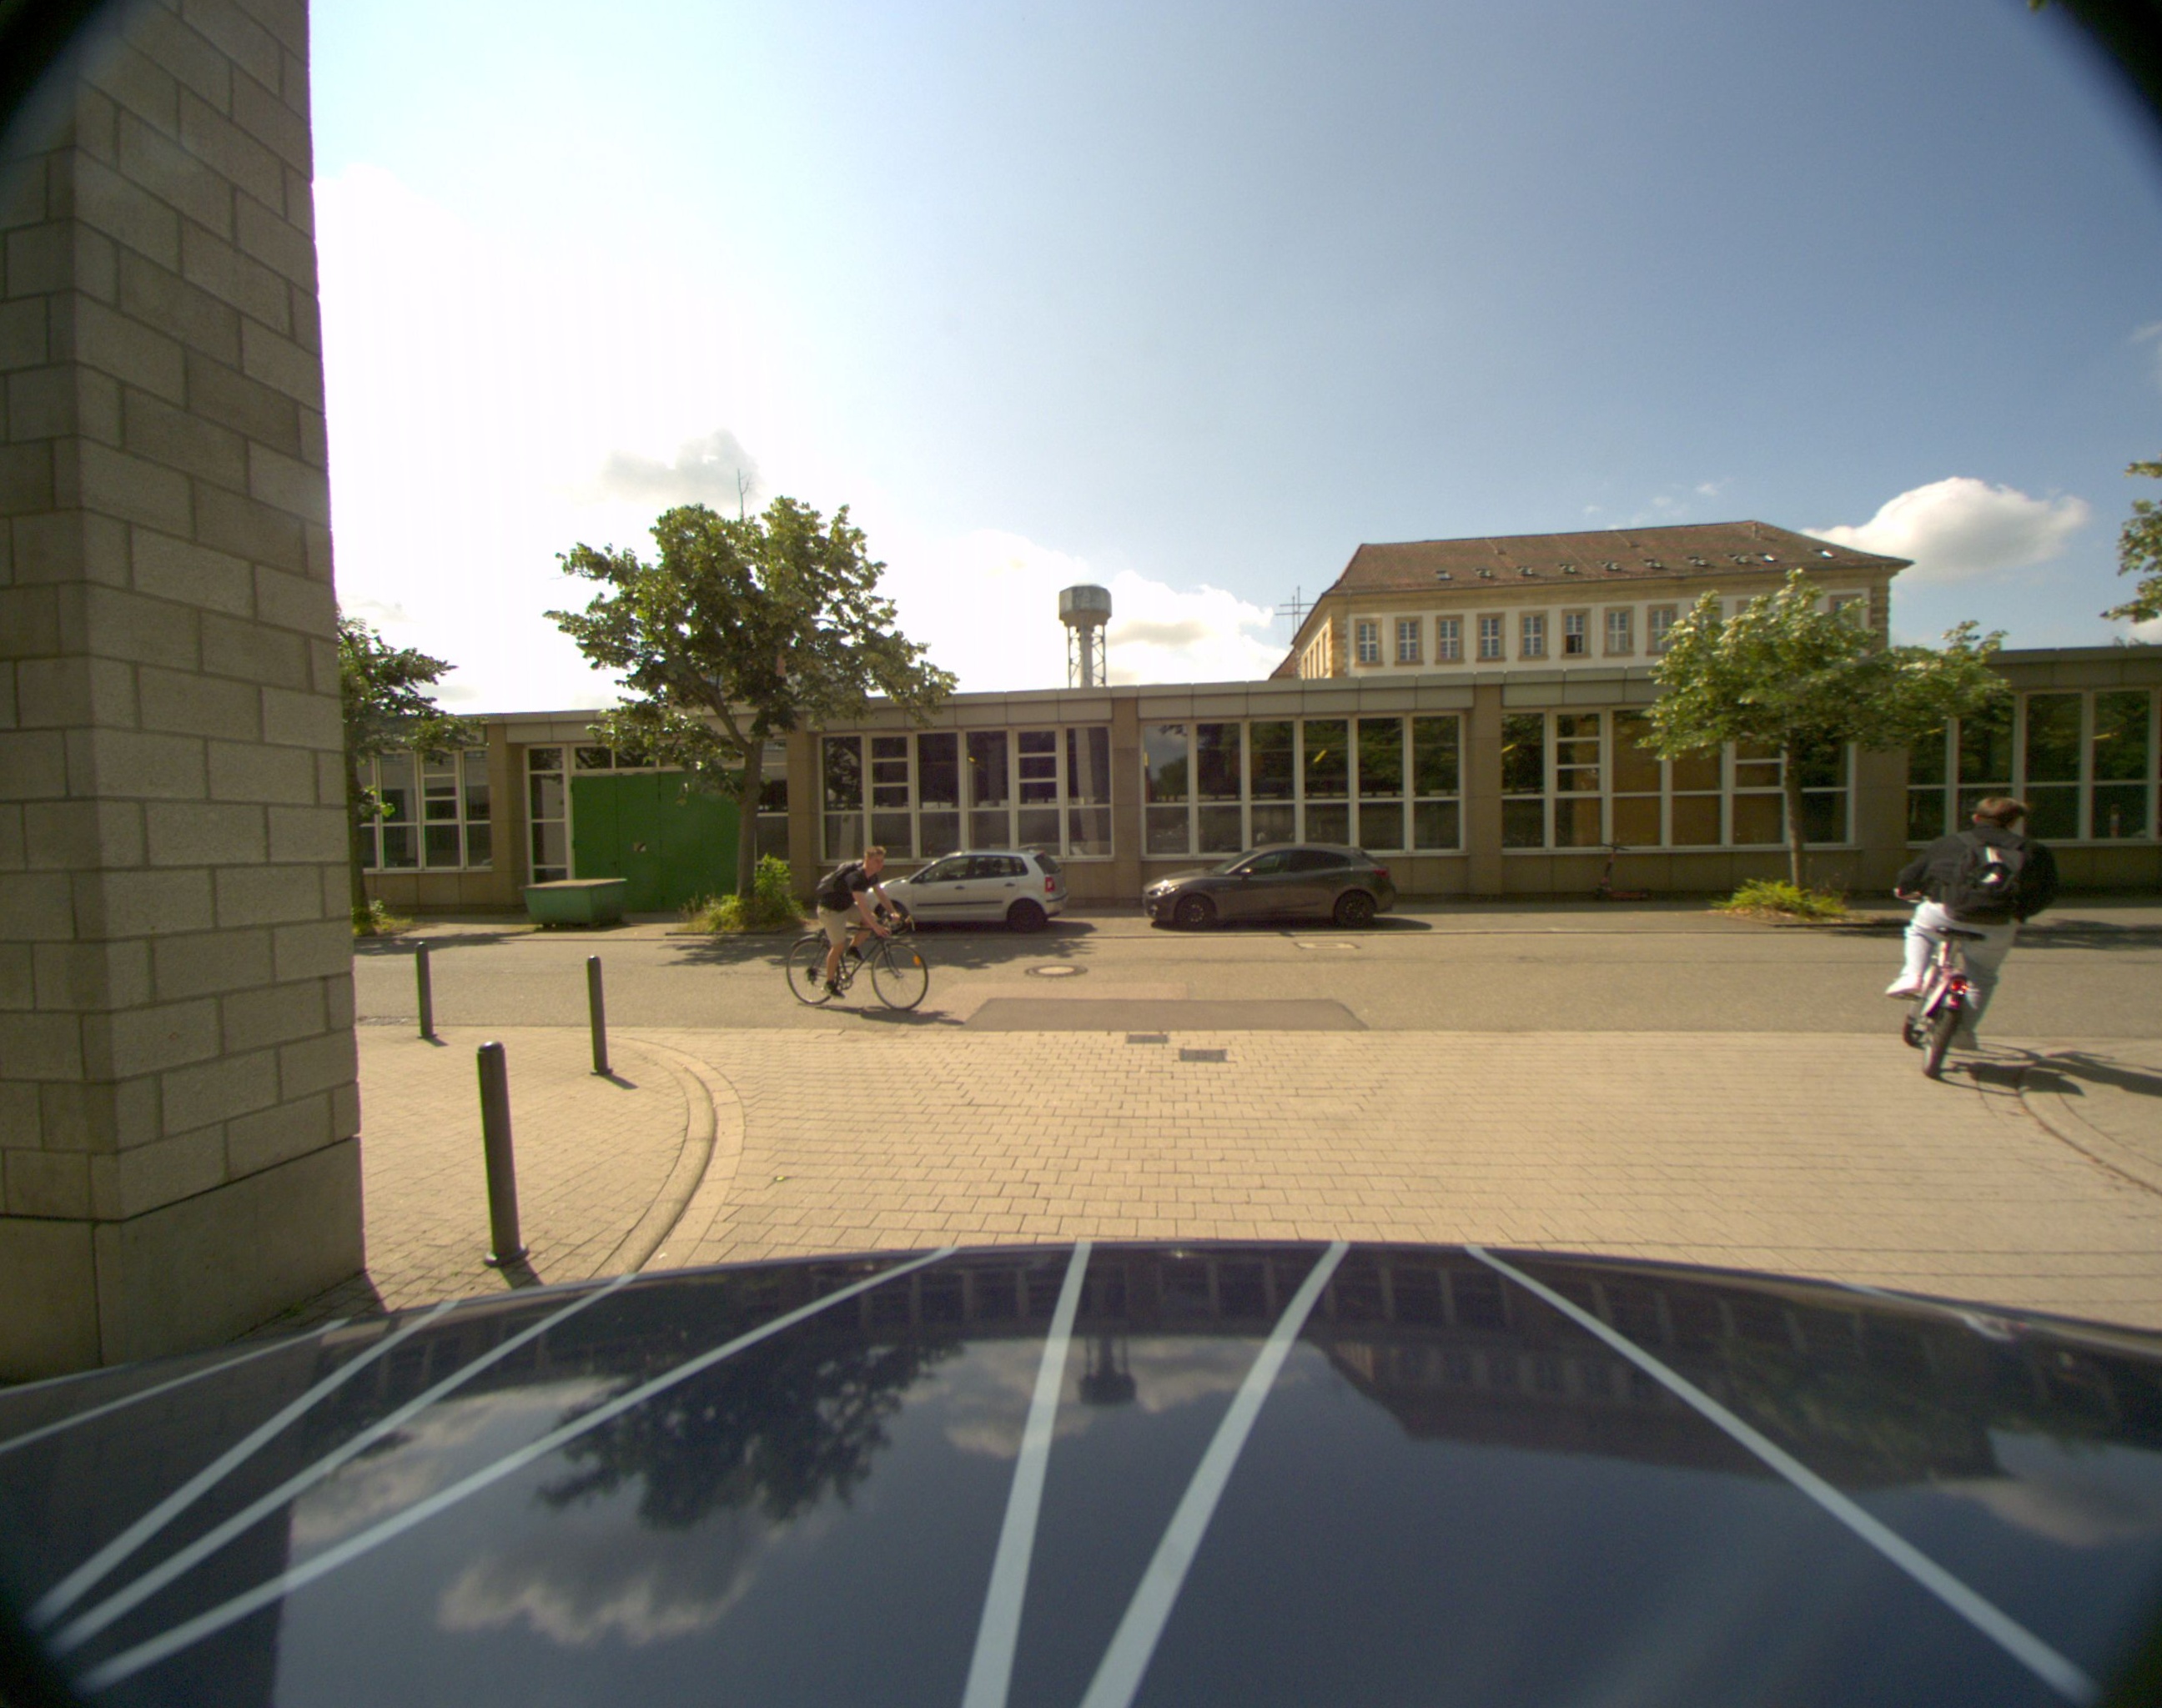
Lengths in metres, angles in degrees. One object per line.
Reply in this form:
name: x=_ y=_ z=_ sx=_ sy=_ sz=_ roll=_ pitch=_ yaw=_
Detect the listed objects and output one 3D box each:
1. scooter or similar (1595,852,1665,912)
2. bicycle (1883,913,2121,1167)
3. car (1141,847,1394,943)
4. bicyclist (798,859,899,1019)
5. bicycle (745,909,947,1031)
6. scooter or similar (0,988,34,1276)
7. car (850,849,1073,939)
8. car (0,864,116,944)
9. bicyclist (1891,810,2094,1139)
scooter or similar: x=11.329 y=0.578 z=15.695 sx=1.157 sy=1.219 sz=0.290 roll=-1 pitch=2 yaw=10
bicycle: x=5.795 y=1.046 z=4.904 sx=0.673 sy=1.134 sz=1.890 roll=0 pitch=2 yaw=41
car: x=3.239 y=0.707 z=13.777 sx=4.206 sy=1.468 sz=1.653 roll=-2 pitch=3 yaw=6
bicyclist: x=-2.338 y=0.837 z=7.699 sx=0.726 sy=1.526 sz=0.605 roll=-1 pitch=4 yaw=8
bicycle: x=-2.358 y=1.151 z=7.714 sx=1.828 sy=1.102 sz=0.605 roll=-1 pitch=4 yaw=8
scooter or similar: x=-4.953 y=1.138 z=3.020 sx=1.157 sy=1.145 sz=0.444 roll=-1 pitch=1 yaw=11
car: x=-2.149 y=0.717 z=14.287 sx=3.774 sy=1.468 sz=1.653 roll=-1 pitch=3 yaw=6
car: x=-24.392 y=1.091 z=16.732 sx=4.129 sy=1.569 sz=1.852 roll=-1 pitch=3 yaw=5
bicyclist: x=5.786 y=0.674 z=4.894 sx=0.673 sy=1.877 sz=0.971 roll=0 pitch=2 yaw=41
